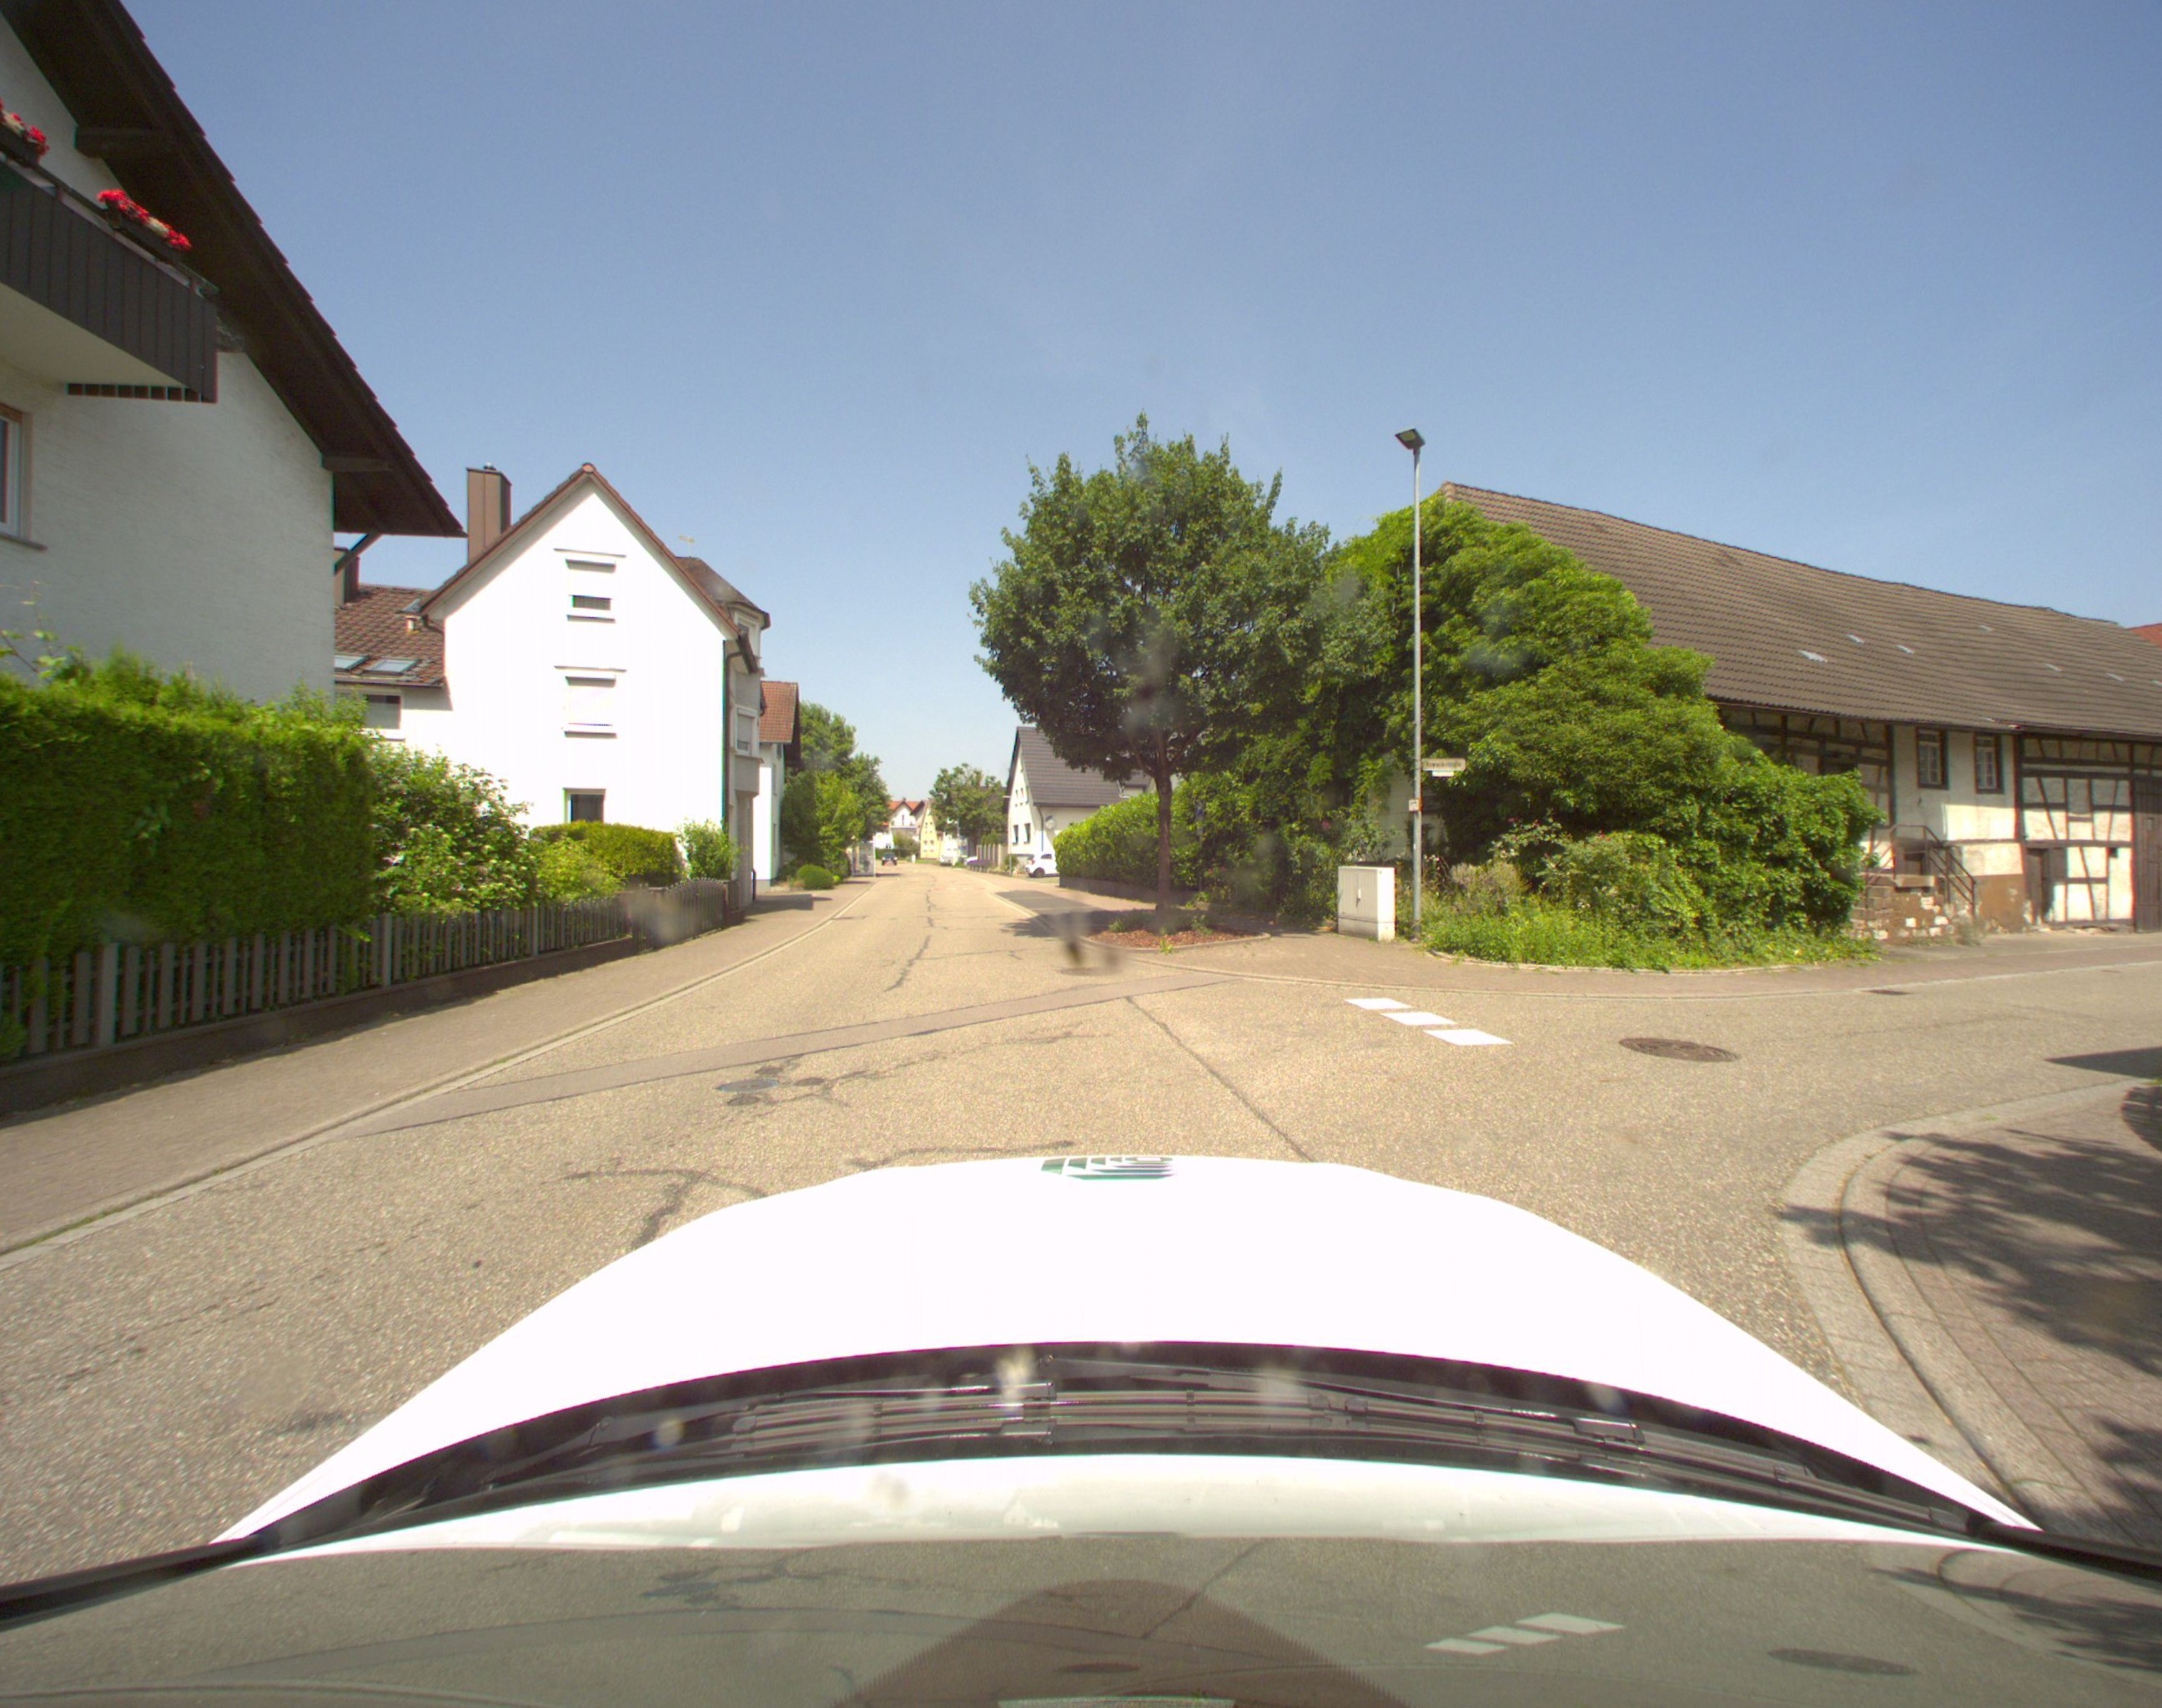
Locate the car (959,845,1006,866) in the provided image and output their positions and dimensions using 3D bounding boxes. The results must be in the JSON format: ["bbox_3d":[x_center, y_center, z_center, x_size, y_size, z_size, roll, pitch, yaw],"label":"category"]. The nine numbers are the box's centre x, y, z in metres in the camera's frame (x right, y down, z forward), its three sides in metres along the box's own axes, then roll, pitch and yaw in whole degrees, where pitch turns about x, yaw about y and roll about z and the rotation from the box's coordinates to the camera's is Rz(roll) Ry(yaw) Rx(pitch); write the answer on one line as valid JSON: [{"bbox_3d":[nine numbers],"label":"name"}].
[{"bbox_3d":[-9.505,0.103,78.725,4.322,1.766,1.883,-2,3,-14],"label":"car"}]

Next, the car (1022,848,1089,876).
[{"bbox_3d":[-1.532,0.470,48.664,3.669,1.474,1.754,-2,2,-19],"label":"car"}]

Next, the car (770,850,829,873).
[{"bbox_3d":[-21.852,0.564,63.427,4.169,1.538,1.764,-2,1,-17],"label":"car"}]

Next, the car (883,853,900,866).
[{"bbox_3d":[-24.159,0.668,103.885,1.776,1.623,4.091,-1,0,-10],"label":"car"}]
